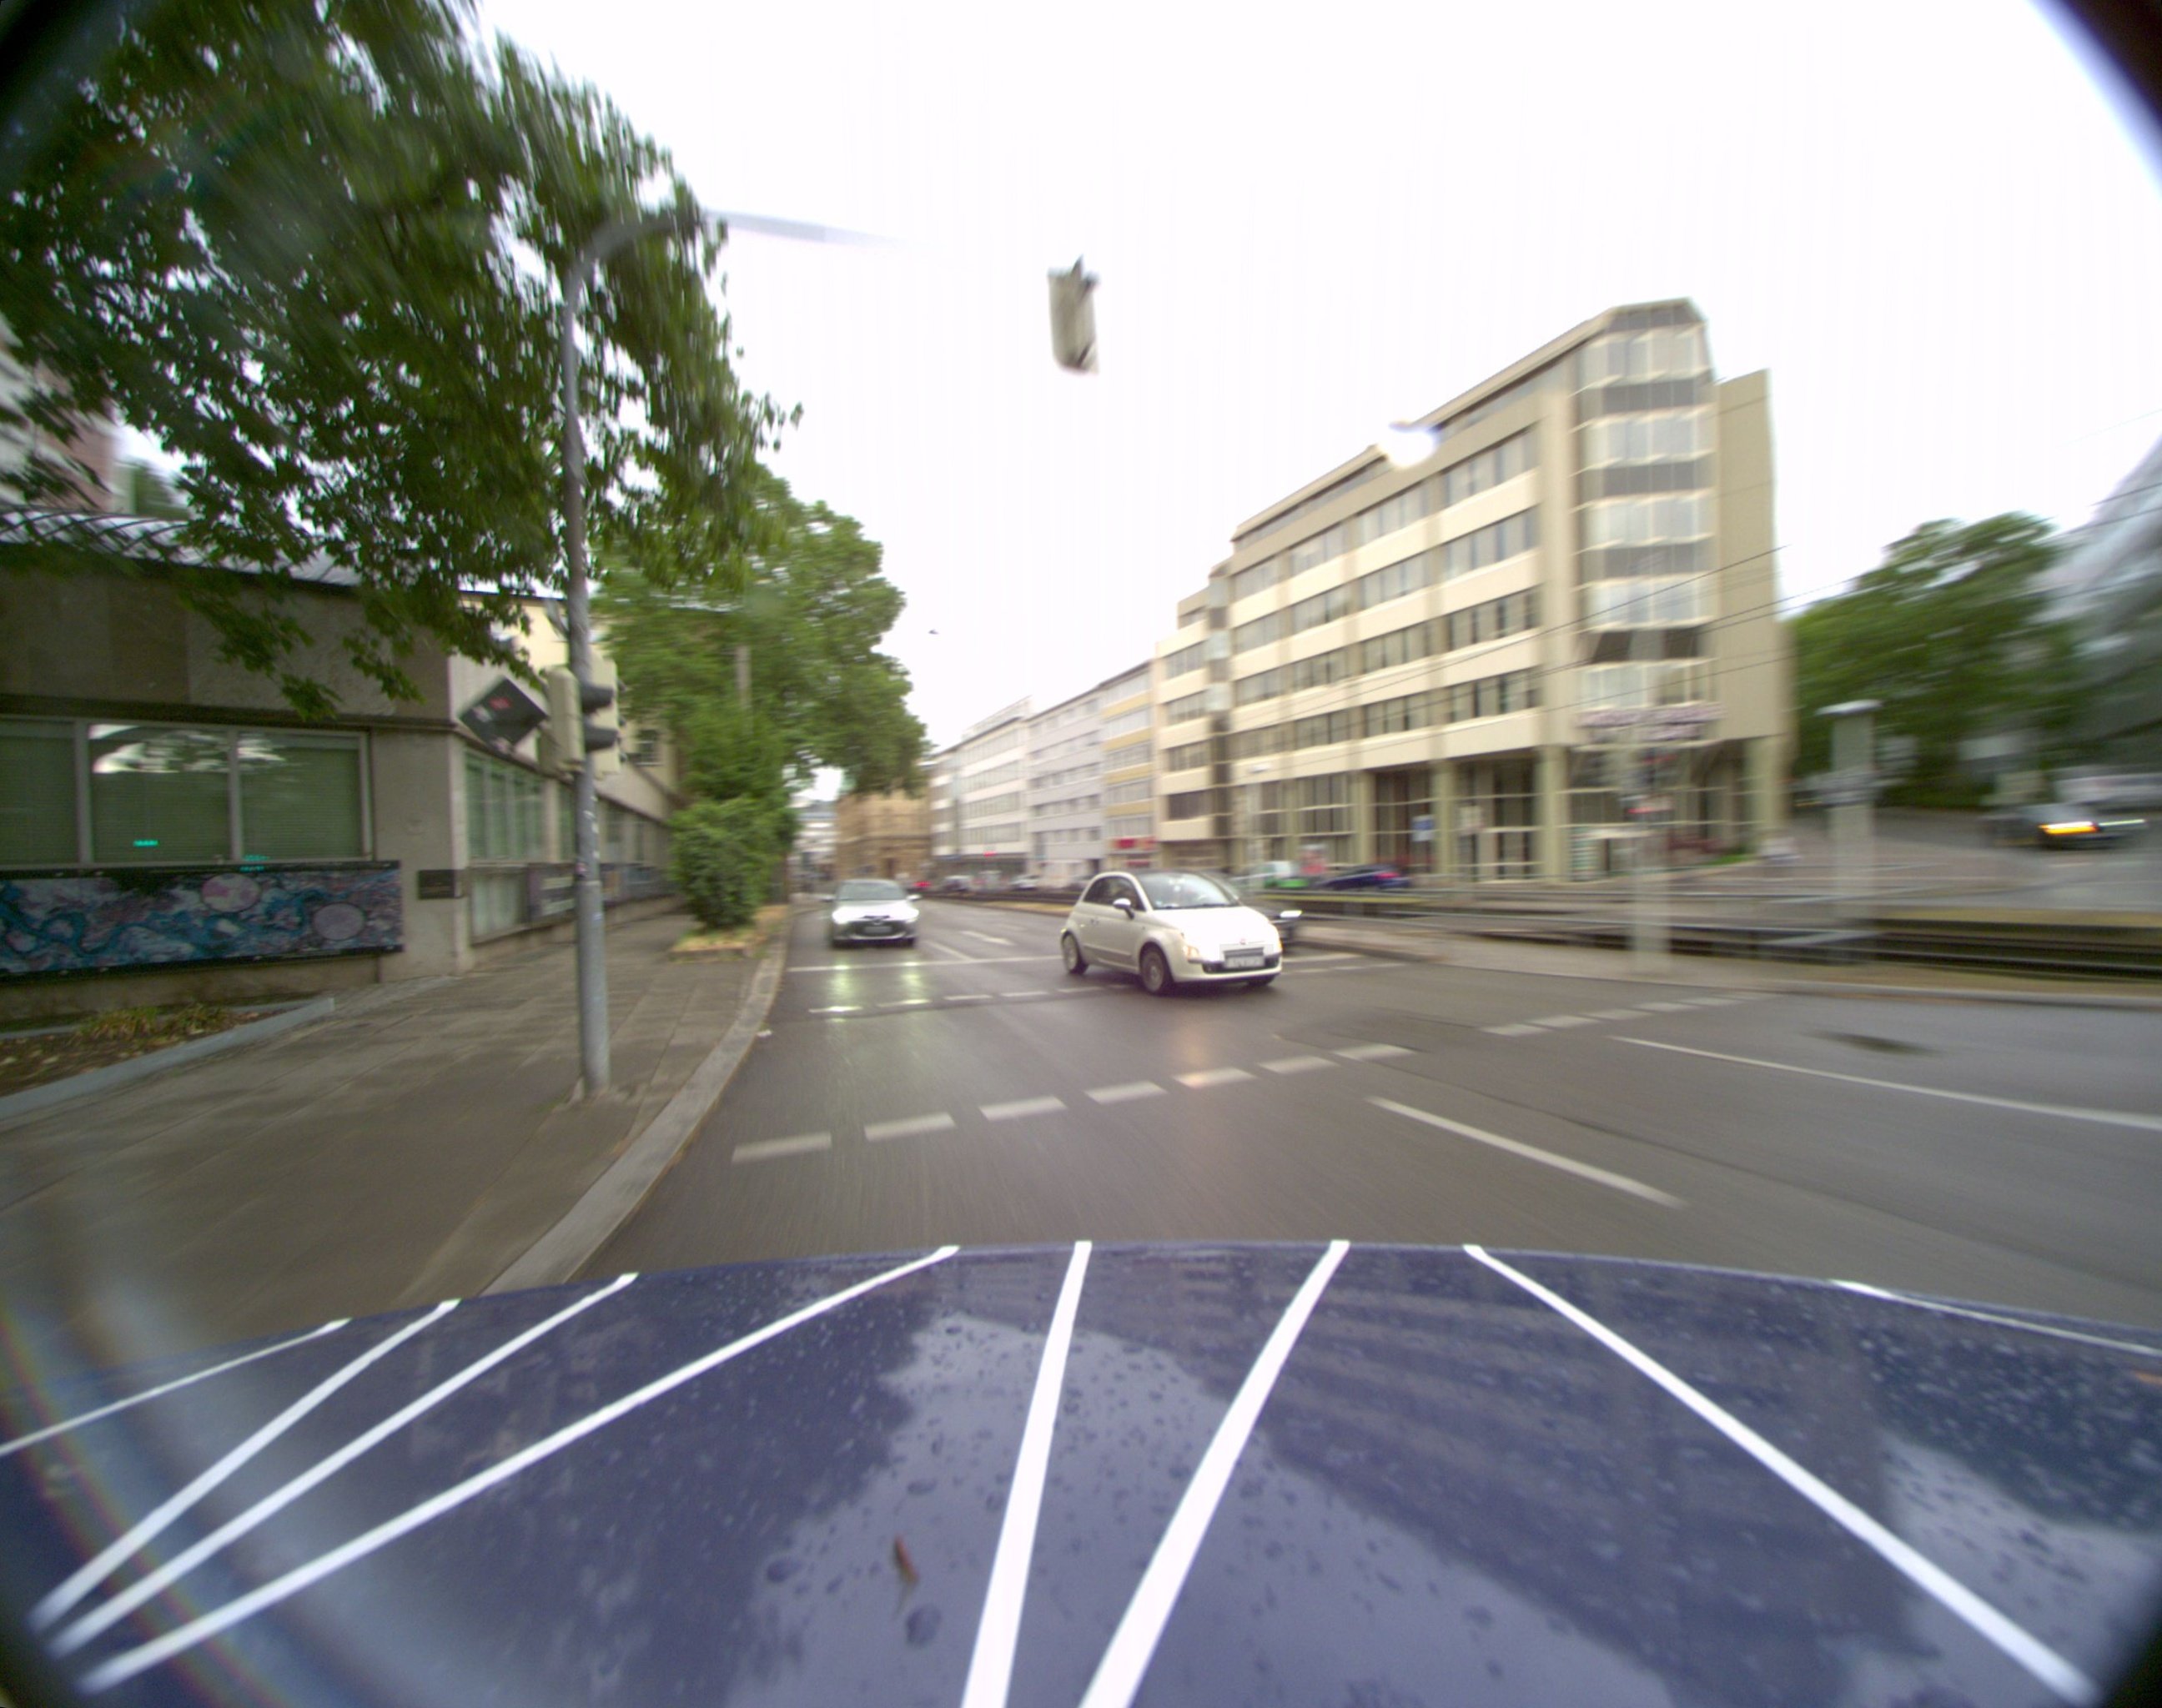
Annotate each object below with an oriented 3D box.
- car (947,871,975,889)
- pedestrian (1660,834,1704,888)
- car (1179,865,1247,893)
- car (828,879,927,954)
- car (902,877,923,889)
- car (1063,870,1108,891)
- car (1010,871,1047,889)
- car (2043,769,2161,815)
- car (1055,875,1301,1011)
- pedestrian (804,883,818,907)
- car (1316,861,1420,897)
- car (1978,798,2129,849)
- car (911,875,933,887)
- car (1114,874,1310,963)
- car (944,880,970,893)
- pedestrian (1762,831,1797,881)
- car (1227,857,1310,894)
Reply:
[{"bbox_3d":[-14.347,3.083,90.643,1.892,1.924,4.469,-3,0,-27],"label":"car"},{"bbox_3d":[20.533,0.230,25.972,0.760,1.776,0.831,-3,1,-2],"label":"pedestrian"},{"bbox_3d":[7.627,1.434,44.279,1.804,1.504,4.069,-3,0,-27],"label":"car"},{"bbox_3d":[-4.716,1.295,17.192,1.814,1.426,4.291,0,-1,-20],"label":"car"},{"bbox_3d":[-22.014,3.782,99.126,1.635,1.349,3.864,-2,-1,-27],"label":"car"},{"bbox_3d":[0.286,2.037,59.806,1.804,1.504,4.069,-3,0,-27],"label":"car"},{"bbox_3d":[-4.915,2.415,70.172,1.892,1.504,4.069,-3,0,-27],"label":"car"},{"bbox_3d":[54.181,-3.232,39.150,5.398,2.001,2.004,-2,-2,41],"label":"car"},{"bbox_3d":[1.071,0.997,9.976,1.657,1.426,3.434,0,-1,-24],"label":"car"},{"bbox_3d":[-19.668,2.984,55.345,0.720,1.629,0.759,-3,1,-10],"label":"pedestrian"},{"bbox_3d":[12.567,1.077,33.595,1.804,1.468,4.209,0,-1,-26],"label":"car"},{"bbox_3d":[36.102,-1.186,28.400,1.995,1.571,4.894,-3,3,33],"label":"car"},{"bbox_3d":[-22.578,3.847,107.987,1.892,1.615,4.469,-3,0,-27],"label":"car"},{"bbox_3d":[2.315,1.112,14.766,1.803,1.433,4.469,0,-1,-19],"label":"car"},{"bbox_3d":[-13.307,3.444,81.142,1.635,1.349,3.864,-2,-1,-27],"label":"car"},{"bbox_3d":[23.404,0.056,25.468,0.718,1.629,0.761,-2,1,36],"label":"pedestrian"},{"bbox_3d":[9.725,1.108,39.804,1.804,1.736,4.208,-3,0,-28],"label":"car"}]
